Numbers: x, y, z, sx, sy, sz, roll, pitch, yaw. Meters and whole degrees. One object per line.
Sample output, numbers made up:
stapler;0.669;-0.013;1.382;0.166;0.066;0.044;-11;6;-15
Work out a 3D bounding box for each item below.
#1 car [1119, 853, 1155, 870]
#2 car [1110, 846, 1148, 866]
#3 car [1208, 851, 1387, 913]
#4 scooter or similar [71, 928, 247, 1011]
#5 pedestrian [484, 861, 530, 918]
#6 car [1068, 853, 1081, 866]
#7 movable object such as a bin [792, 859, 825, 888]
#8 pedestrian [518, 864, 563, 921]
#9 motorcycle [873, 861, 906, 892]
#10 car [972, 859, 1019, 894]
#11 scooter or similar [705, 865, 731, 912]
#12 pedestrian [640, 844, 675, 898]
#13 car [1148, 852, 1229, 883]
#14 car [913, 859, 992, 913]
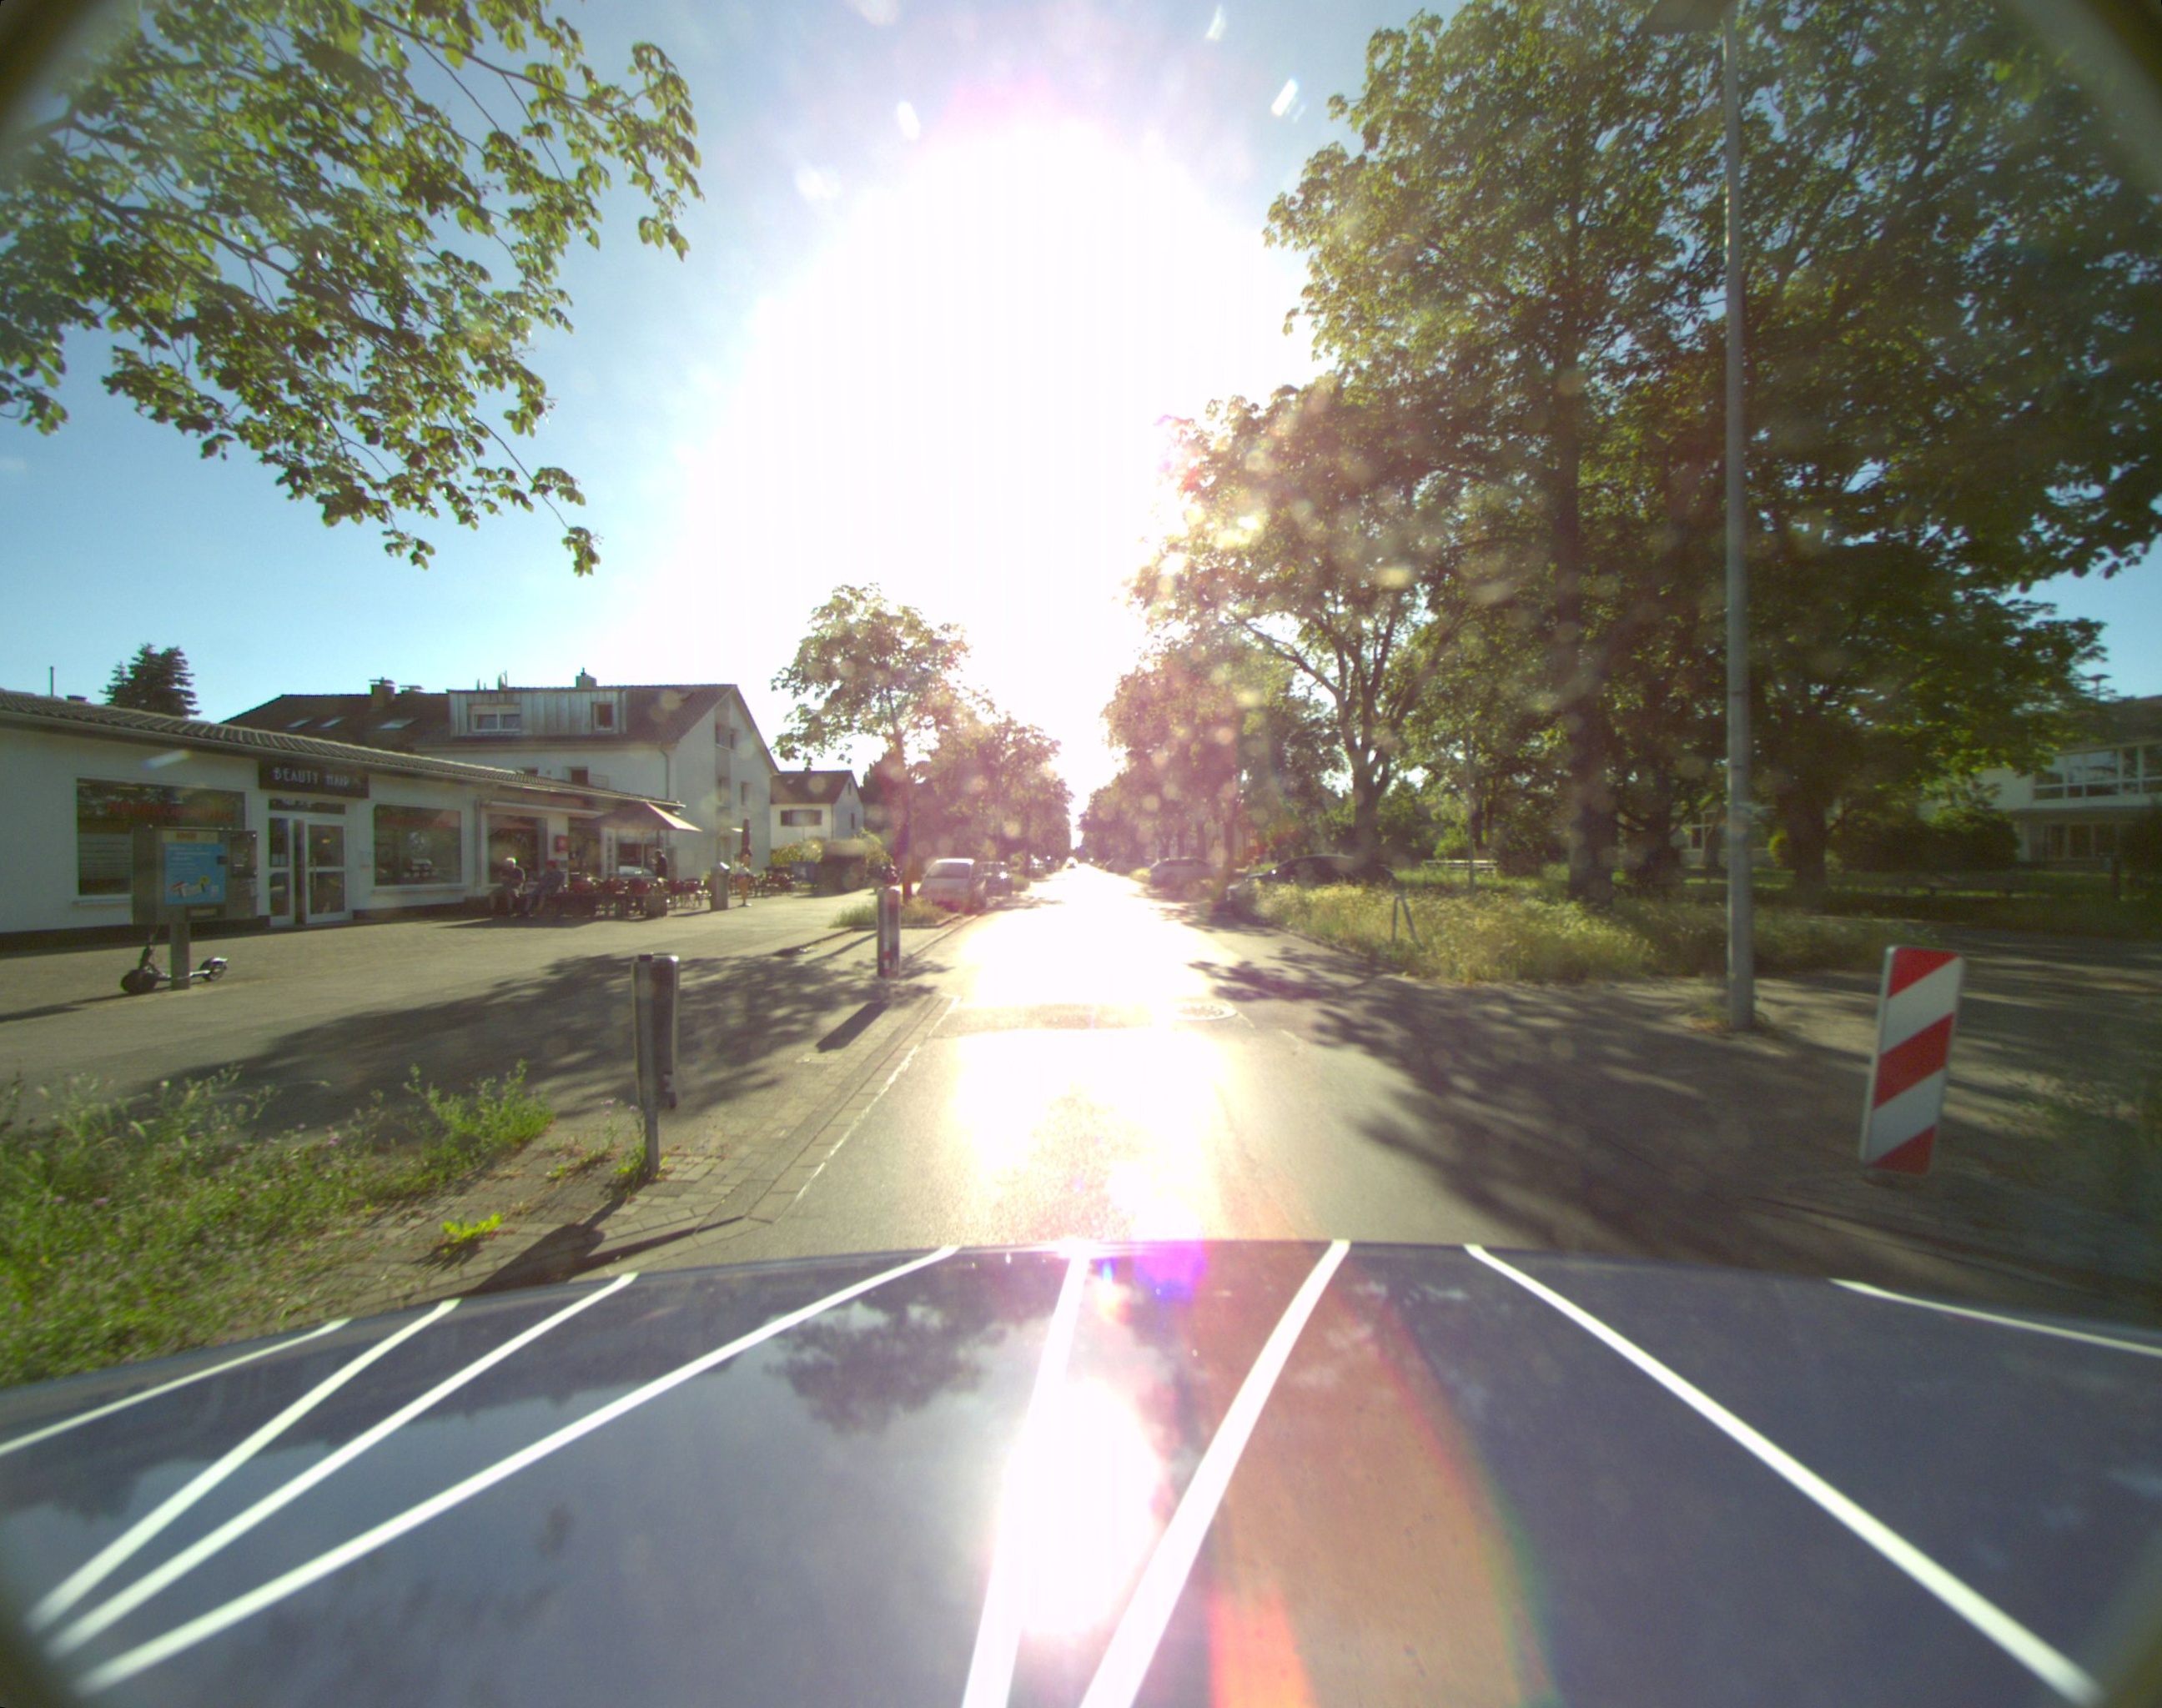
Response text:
car;6.458;0.847;88.402;3.997;1.740;1.890;-2;1;-1
car;6.586;0.284;105.041;5.121;2.597;2.125;-2;1;2
car;6.188;0.776;22.114;4.616;1.552;2.000;-2;1;0
scooter or similar;-10.175;1.250;8.443;0.450;0.712;1.228;3;1;-1
pedestrian;-13.823;0.846;18.316;0.641;1.314;0.574;2;1;0
car;-1.113;0.958;126.953;1.998;2.002;3.999;-2;1;0
movable object such as a bin;-12.322;0.876;34.351;1.172;1.286;0.928;0;1;-1
pedestrian;-13.018;0.912;18.318;0.641;1.314;0.574;2;1;0
motorcycle;-8.371;0.958;33.251;0.838;1.247;2.344;-2;1;-1
car;-3.834;0.980;34.622;1.733;1.473;3.857;0;0;-1
scooter or similar;-10.122;0.965;21.210;0.503;1.288;0.461;0;1;-4
pedestrian;-14.391;0.568;25.833;0.672;1.798;0.735;-2;1;0
car;5.905;0.740;42.145;4.204;1.552;2.000;-2;1;0
car;-4.030;0.956;24.455;1.732;1.568;3.858;0;0;2
